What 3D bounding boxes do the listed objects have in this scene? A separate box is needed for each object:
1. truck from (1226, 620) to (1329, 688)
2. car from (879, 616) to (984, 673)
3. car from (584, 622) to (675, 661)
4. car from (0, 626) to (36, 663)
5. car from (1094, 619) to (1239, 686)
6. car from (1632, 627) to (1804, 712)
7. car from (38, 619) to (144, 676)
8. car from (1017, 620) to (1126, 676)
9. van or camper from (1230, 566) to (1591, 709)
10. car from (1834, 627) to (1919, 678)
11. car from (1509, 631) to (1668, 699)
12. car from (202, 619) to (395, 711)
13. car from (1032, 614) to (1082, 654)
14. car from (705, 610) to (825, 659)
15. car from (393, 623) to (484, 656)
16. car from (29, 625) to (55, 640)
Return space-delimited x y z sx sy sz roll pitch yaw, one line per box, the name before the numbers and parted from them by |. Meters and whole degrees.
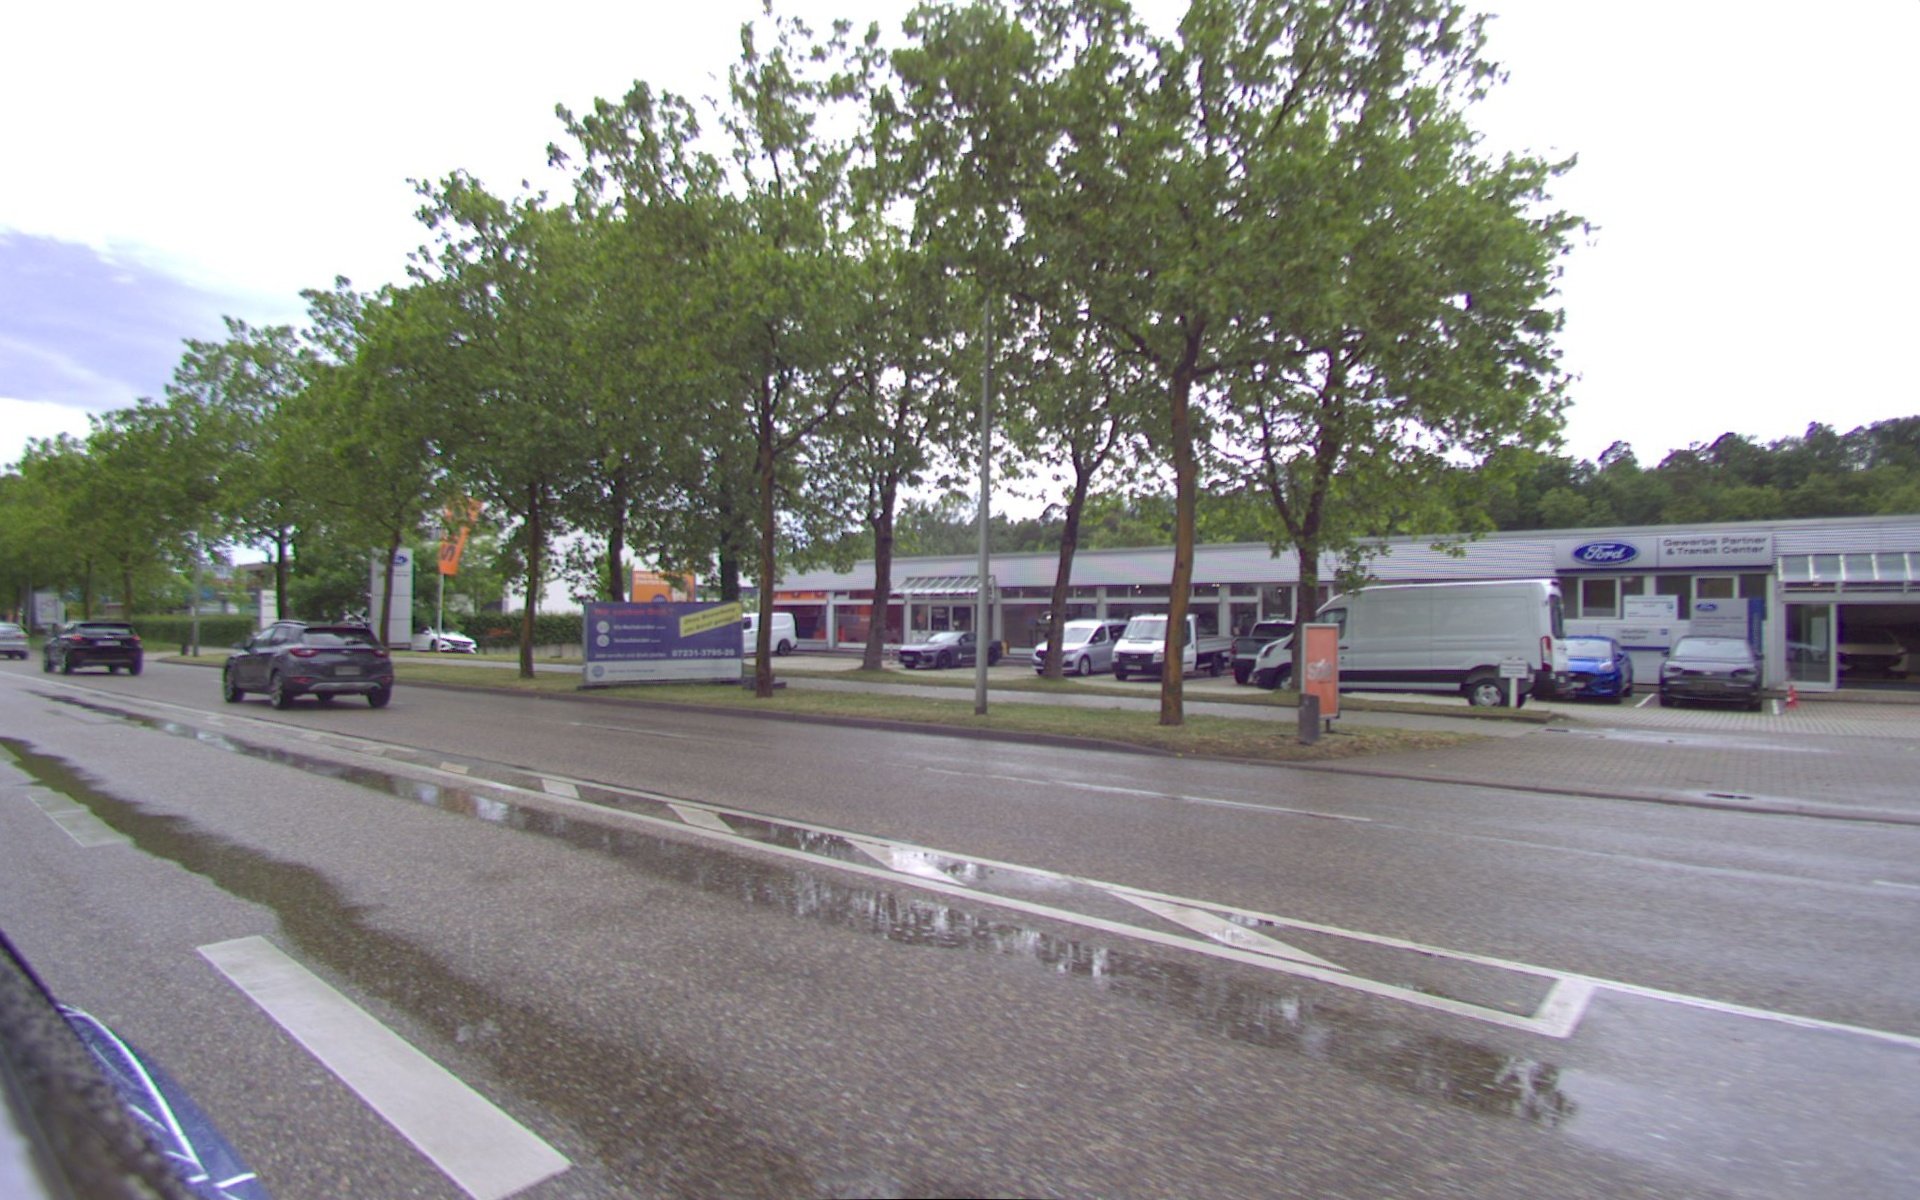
truck | 9.399 1.530 29.753 1.993 1.852 3.957 -1 -2 31
car | -1.011 1.638 37.990 1.880 2.029 3.948 -1 -2 38
car | -16.801 2.082 51.596 1.963 1.904 3.944 -2 -2 42
car | -39.428 1.796 41.246 4.681 1.440 1.973 -1 -3 40
car | 6.612 1.581 31.920 2.412 1.918 5.325 -1 -2 37
car | 17.362 1.520 23.155 3.932 1.780 1.870 1 -2 -33
car | -25.169 1.359 29.273 3.856 1.543 1.744 -1 -4 42
car | 3.817 1.595 34.244 1.880 1.780 3.948 -1 -2 38
van or camper | 8.909 0.715 20.515 6.393 2.489 1.974 -1 -1 39
car | 28.157 1.571 31.080 1.865 1.450 3.944 -2 -2 42
car | 15.444 1.523 24.826 3.933 1.532 1.870 1 -2 -35
car | -11.997 1.109 18.252 4.175 1.473 1.650 -1 -3 38
car | 4.670 1.577 48.307 1.893 1.757 3.870 -1 0 13
car | -8.543 1.513 44.731 2.127 2.029 4.995 -1 -2 39
car | -25.529 1.919 49.432 5.243 1.507 2.096 -1 -2 40
car | -103.575 3.635 114.174 3.999 1.545 1.723 -1 -4 42
